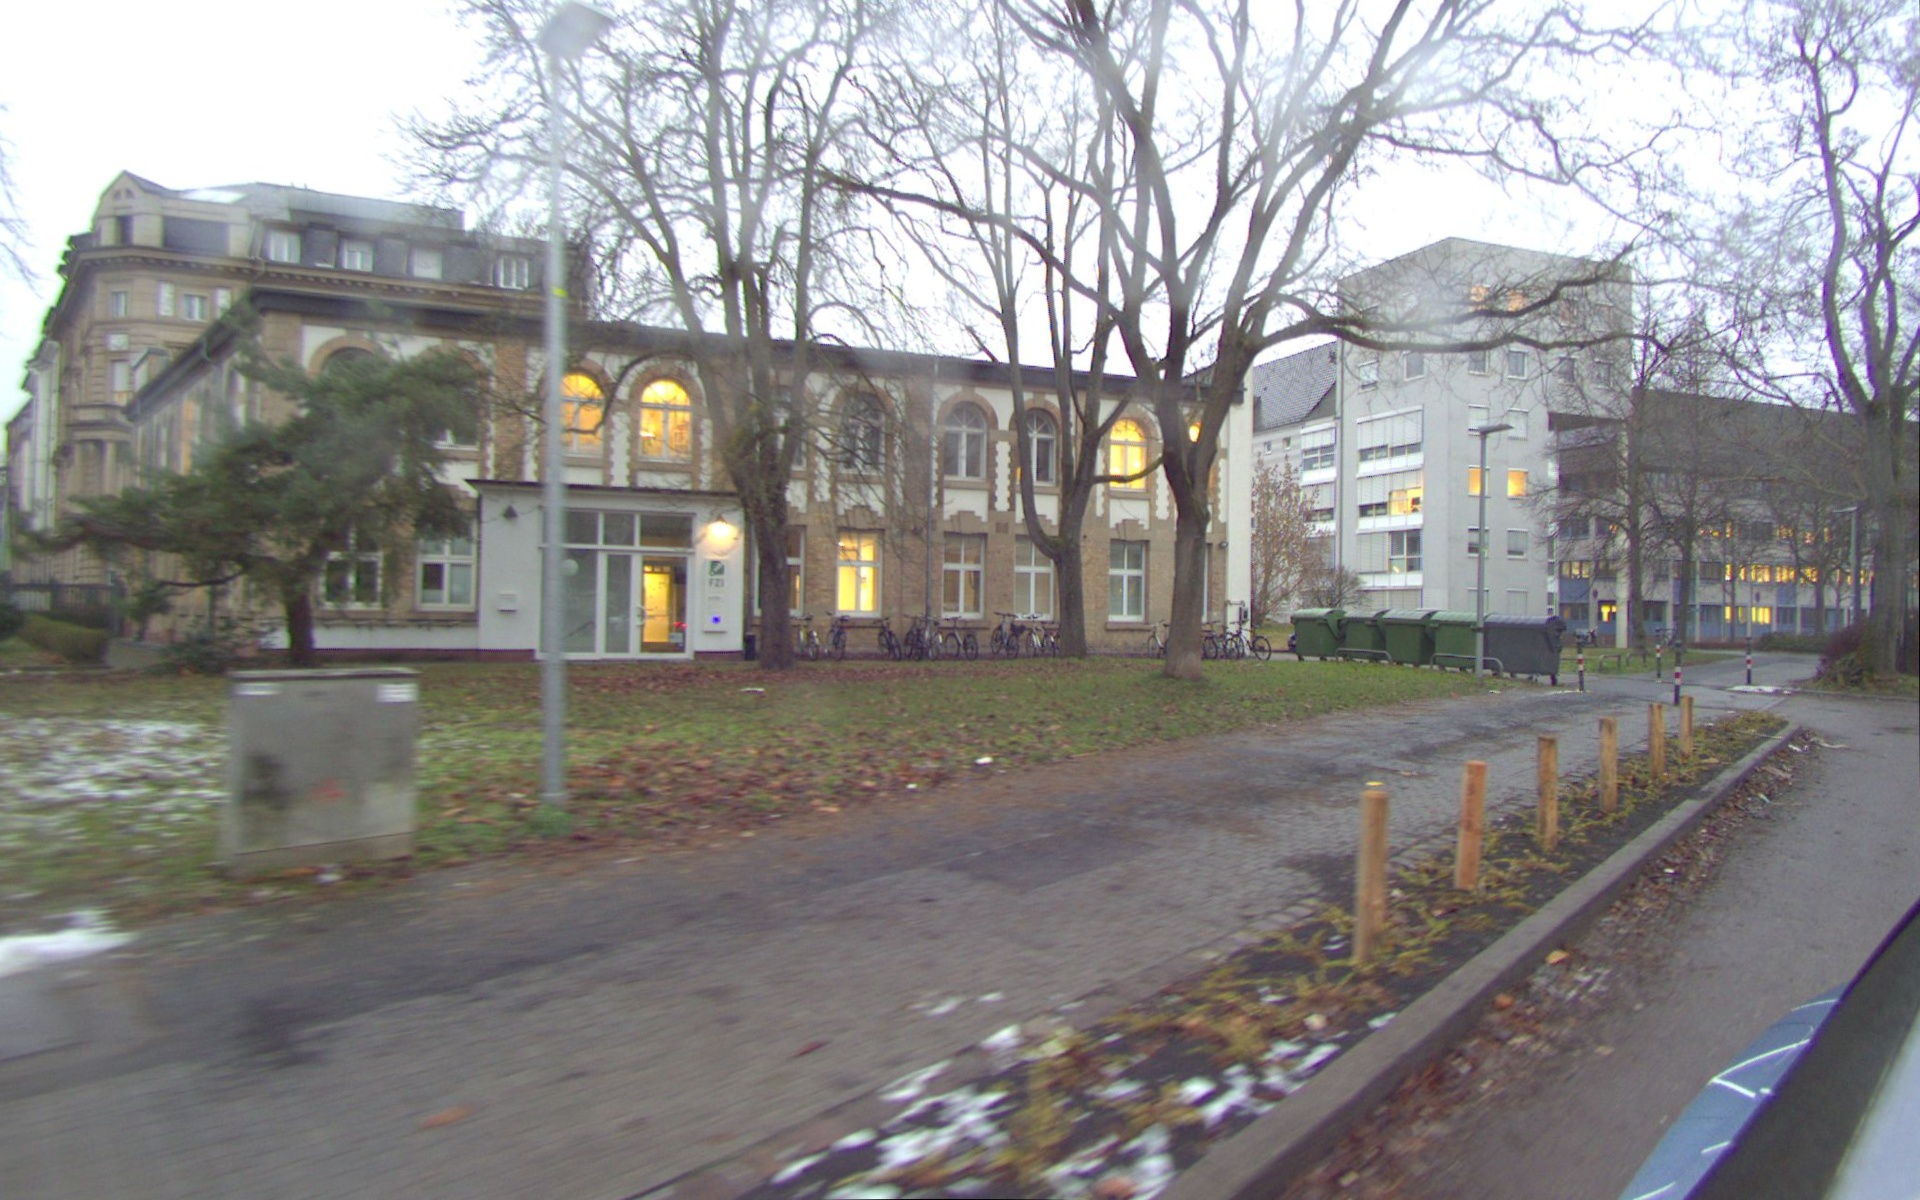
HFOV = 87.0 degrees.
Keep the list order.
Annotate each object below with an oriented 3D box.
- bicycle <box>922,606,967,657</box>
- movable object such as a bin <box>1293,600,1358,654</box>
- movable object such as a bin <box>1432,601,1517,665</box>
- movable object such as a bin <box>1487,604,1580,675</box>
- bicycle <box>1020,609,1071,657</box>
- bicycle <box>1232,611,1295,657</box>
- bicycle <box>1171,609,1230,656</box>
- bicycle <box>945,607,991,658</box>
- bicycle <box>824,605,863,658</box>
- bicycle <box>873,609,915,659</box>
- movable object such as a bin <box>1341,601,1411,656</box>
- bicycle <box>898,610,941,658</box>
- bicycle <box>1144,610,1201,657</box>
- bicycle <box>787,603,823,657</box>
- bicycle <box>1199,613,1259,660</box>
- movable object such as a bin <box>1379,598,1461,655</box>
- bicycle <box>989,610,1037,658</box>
[{"bbox_3d":[-0.402,0.760,25.055,0.561,1.171,2.146,1,0,-16],"label":"bicycle"},{"bbox_3d":[9.433,0.677,26.186,0.967,1.330,1.266,1,0,-23],"label":"movable object such as a bin"},{"bbox_3d":[11.220,0.707,22.105,0.967,1.330,1.310,1,0,-23],"label":"movable object such as a bin"},{"bbox_3d":[11.767,0.782,20.784,1.043,1.333,1.324,0,2,-35],"label":"movable object such as a bin"},{"bbox_3d":[2.165,0.831,25.945,0.561,1.124,2.146,1,0,-16],"label":"bicycle"},{"bbox_3d":[8.330,0.915,27.878,0.561,1.171,2.146,1,0,-16],"label":"bicycle"},{"bbox_3d":[6.475,0.857,27.378,0.561,1.171,2.146,1,0,-16],"label":"bicycle"},{"bbox_3d":[0.177,0.786,25.237,0.561,1.171,2.146,1,0,-16],"label":"bicycle"},{"bbox_3d":[-2.798,0.719,24.135,0.561,1.171,2.146,1,0,-16],"label":"bicycle"},{"bbox_3d":[-1.630,0.797,24.686,0.561,1.063,2.147,1,2,-16],"label":"bicycle"},{"bbox_3d":[10.242,0.686,24.951,0.967,1.296,1.254,1,0,-23],"label":"movable object such as a bin"},{"bbox_3d":[-1.022,0.812,24.881,0.561,1.029,2.147,1,2,-16],"label":"bicycle"},{"bbox_3d":[5.656,0.879,27.079,0.561,1.171,2.146,1,0,-16],"label":"bicycle"},{"bbox_3d":[-3.669,0.675,23.870,0.561,1.171,2.146,1,0,-16],"label":"bicycle"},{"bbox_3d":[7.354,0.985,27.795,0.561,1.171,2.146,1,0,-16],"label":"bicycle"},{"bbox_3d":[10.684,0.598,23.556,0.967,1.240,1.441,1,0,-23],"label":"movable object such as a bin"},{"bbox_3d":[1.320,0.833,25.653,0.561,1.106,2.146,1,0,-16],"label":"bicycle"}]
